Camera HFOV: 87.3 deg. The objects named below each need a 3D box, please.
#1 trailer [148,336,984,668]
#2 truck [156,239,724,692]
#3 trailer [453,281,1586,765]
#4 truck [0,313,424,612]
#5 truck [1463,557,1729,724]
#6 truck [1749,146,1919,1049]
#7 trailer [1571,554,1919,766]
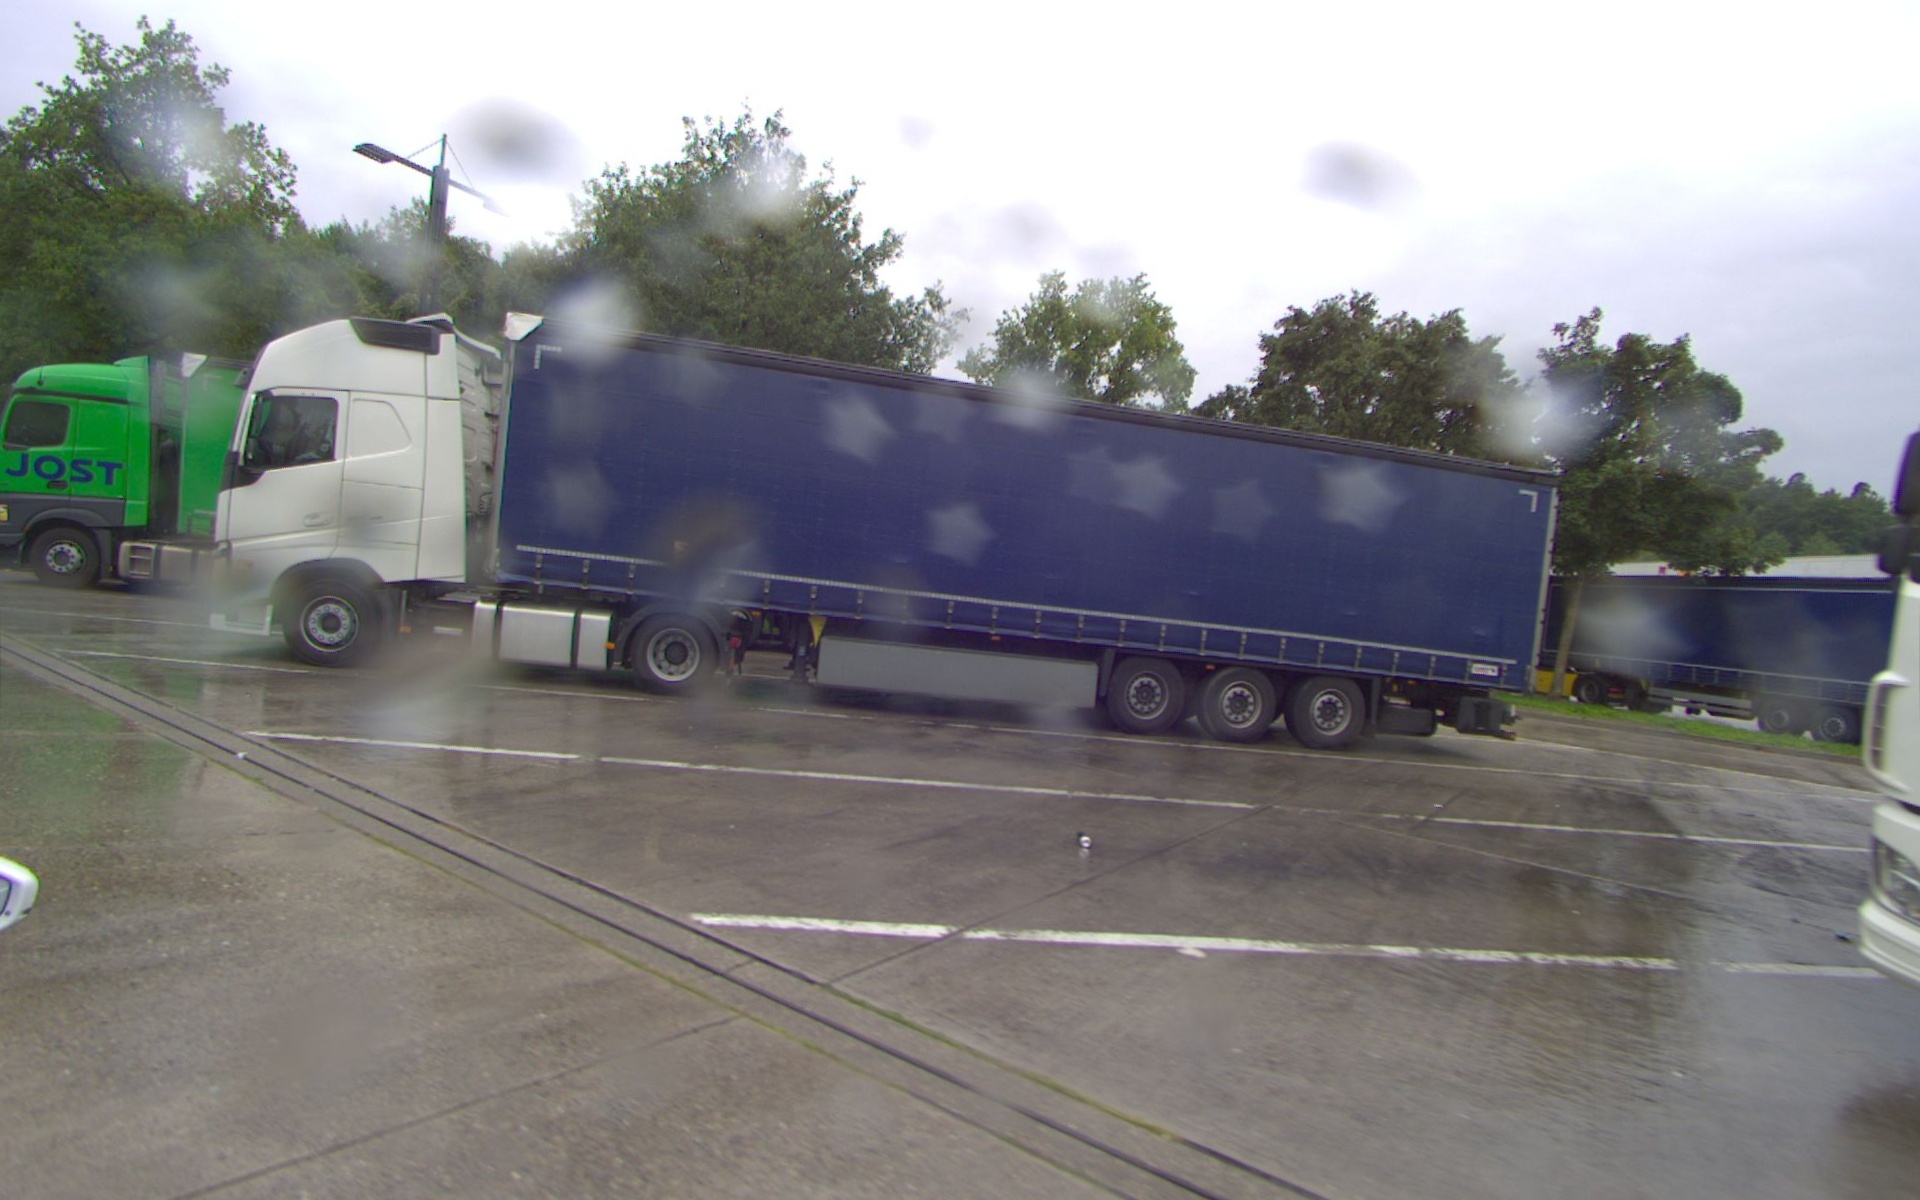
[{"bbox_3d":[-6.705,-1.525,19.279,13.738,4.203,2.819,6,1,-13],"label":"trailer"},{"bbox_3d":[-5.794,-1.355,12.204,5.214,4.199,2.820,6,1,-11],"label":"truck"},{"bbox_3d":[1.176,-0.635,13.559,13.760,4.225,2.820,6,1,-11],"label":"trailer"},{"bbox_3d":[-13.339,-2.228,17.842,5.899,4.203,2.819,6,1,-12],"label":"truck"},{"bbox_3d":[20.111,1.105,32.415,3.205,4.565,6.519,6,1,-11],"label":"truck"},{"bbox_3d":[6.964,0.237,4.062,5.322,3.963,2.823,6,1,-12],"label":"truck"},{"bbox_3d":[21.551,1.340,25.013,3.205,4.531,12.002,6,1,-11],"label":"trailer"}]
